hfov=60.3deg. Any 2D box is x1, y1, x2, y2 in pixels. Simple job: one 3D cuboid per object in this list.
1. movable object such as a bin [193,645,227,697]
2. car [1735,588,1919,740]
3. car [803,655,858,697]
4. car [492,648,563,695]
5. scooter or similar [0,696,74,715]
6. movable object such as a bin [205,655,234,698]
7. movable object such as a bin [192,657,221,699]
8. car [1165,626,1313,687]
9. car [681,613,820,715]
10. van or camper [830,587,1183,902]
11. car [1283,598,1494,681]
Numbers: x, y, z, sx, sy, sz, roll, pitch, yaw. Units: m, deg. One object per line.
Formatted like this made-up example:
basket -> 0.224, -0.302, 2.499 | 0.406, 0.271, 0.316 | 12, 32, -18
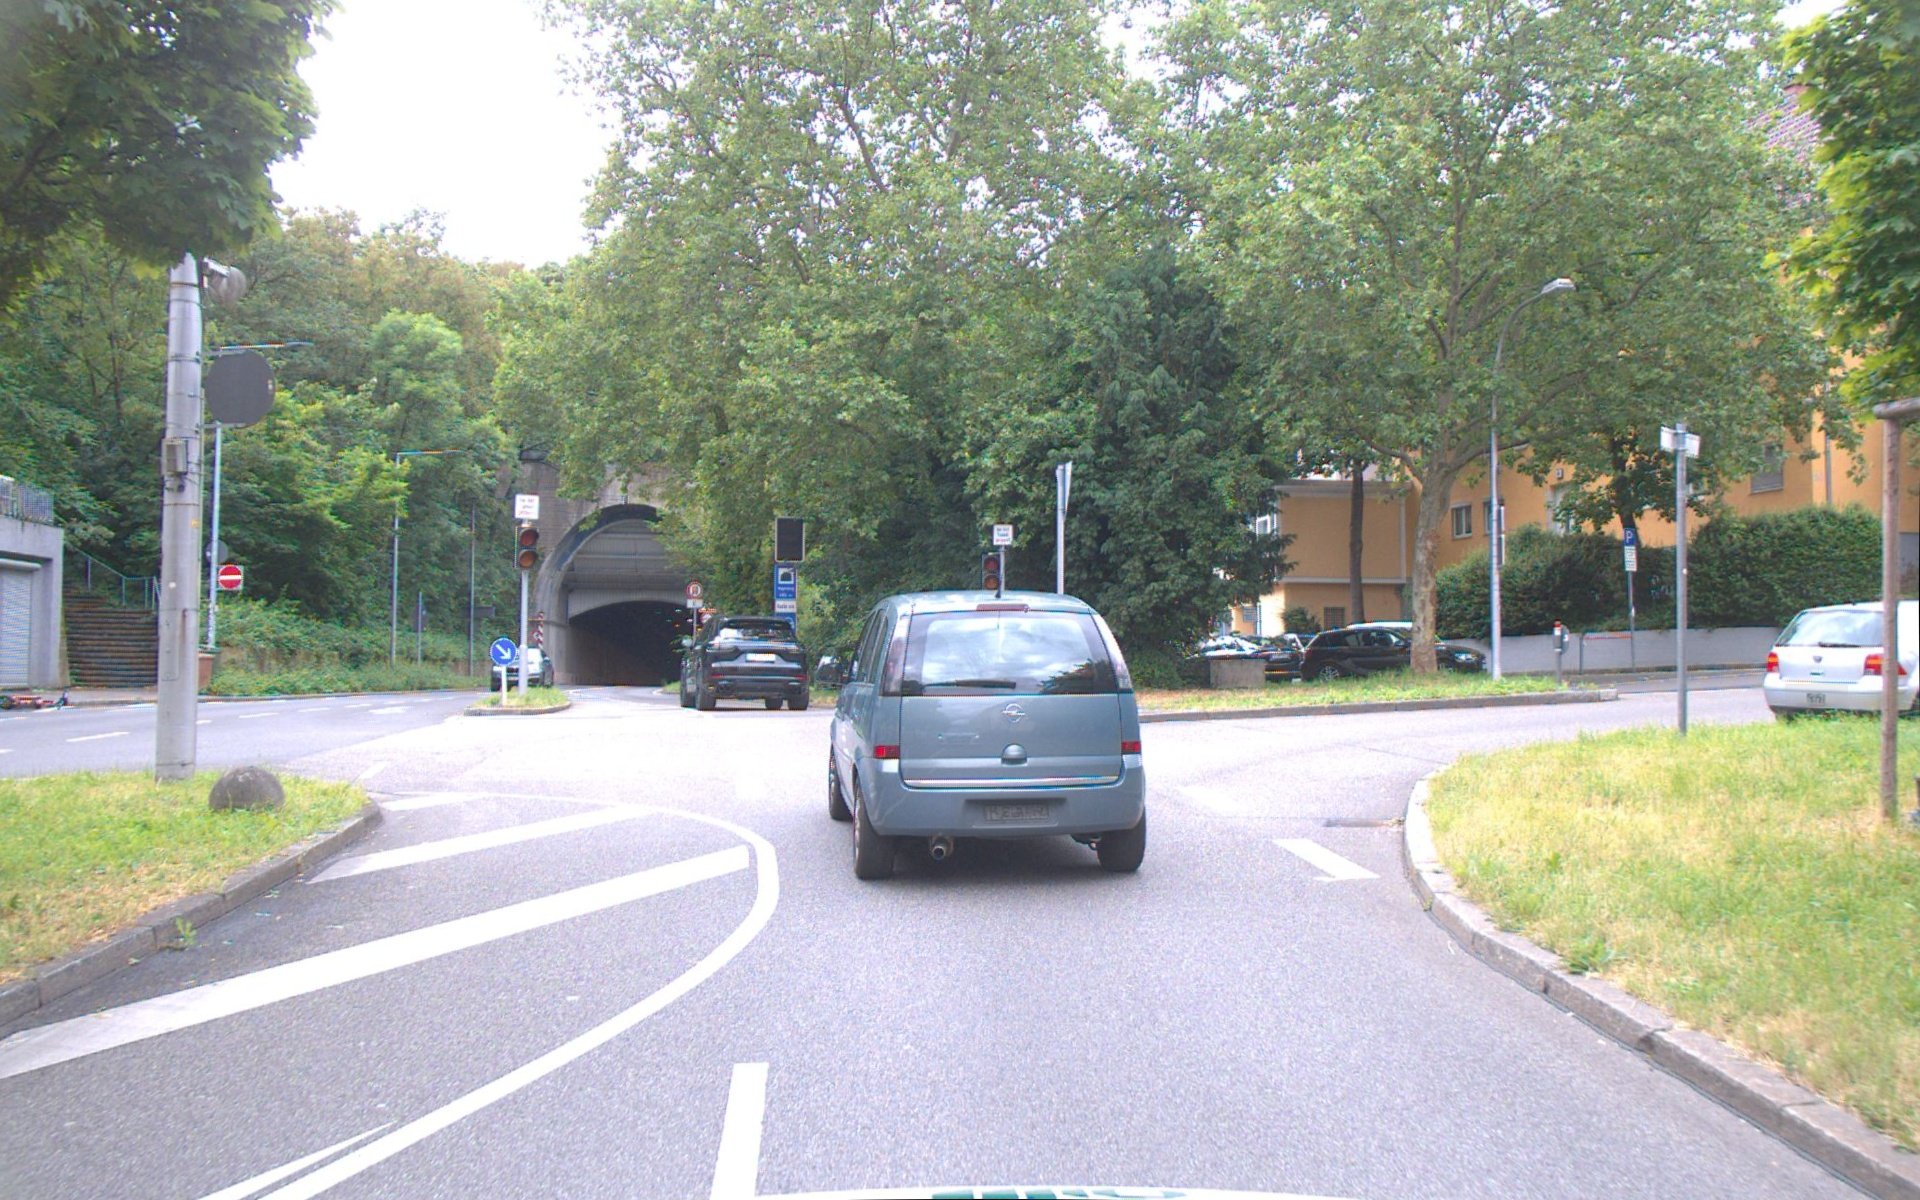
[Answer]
movable object such as a bin -> -18.050, 1.714, 39.819 | 0.595, 1.206, 0.490 | 4, -3, -17
car -> 10.702, 0.616, 18.036 | 4.060, 1.453, 1.850 | -1, 1, -23
car -> -4.812, 2.800, 61.057 | 1.751, 1.467, 5.053 | -1, -2, -7
car -> -16.669, 2.753, 63.922 | 1.833, 1.729, 4.930 | 0, -2, -5
scooter or similar -> -17.232, 1.960, 30.786 | 1.106, 0.293, 1.093 | -1, -2, -17
movable object such as a bin -> -18.533, 1.917, 41.395 | 0.547, 1.043, 0.428 | 4, -3, -17
movable object such as a bin -> -17.889, 1.851, 39.267 | 0.508, 0.984, 0.442 | 4, -3, -17
car -> 7.910, 1.640, 47.381 | 1.965, 1.606, 4.872 | 0, -2, -21
car -> -3.869, 1.107, 29.995 | 1.961, 1.682, 3.983 | 0, -1, -15
van or camper -> 0.117, 0.737, 10.520 | 1.702, 1.605, 3.640 | -1, 1, -7
car -> 9.954, 0.927, 38.517 | 4.330, 1.511, 1.859 | -6, -2, 30
